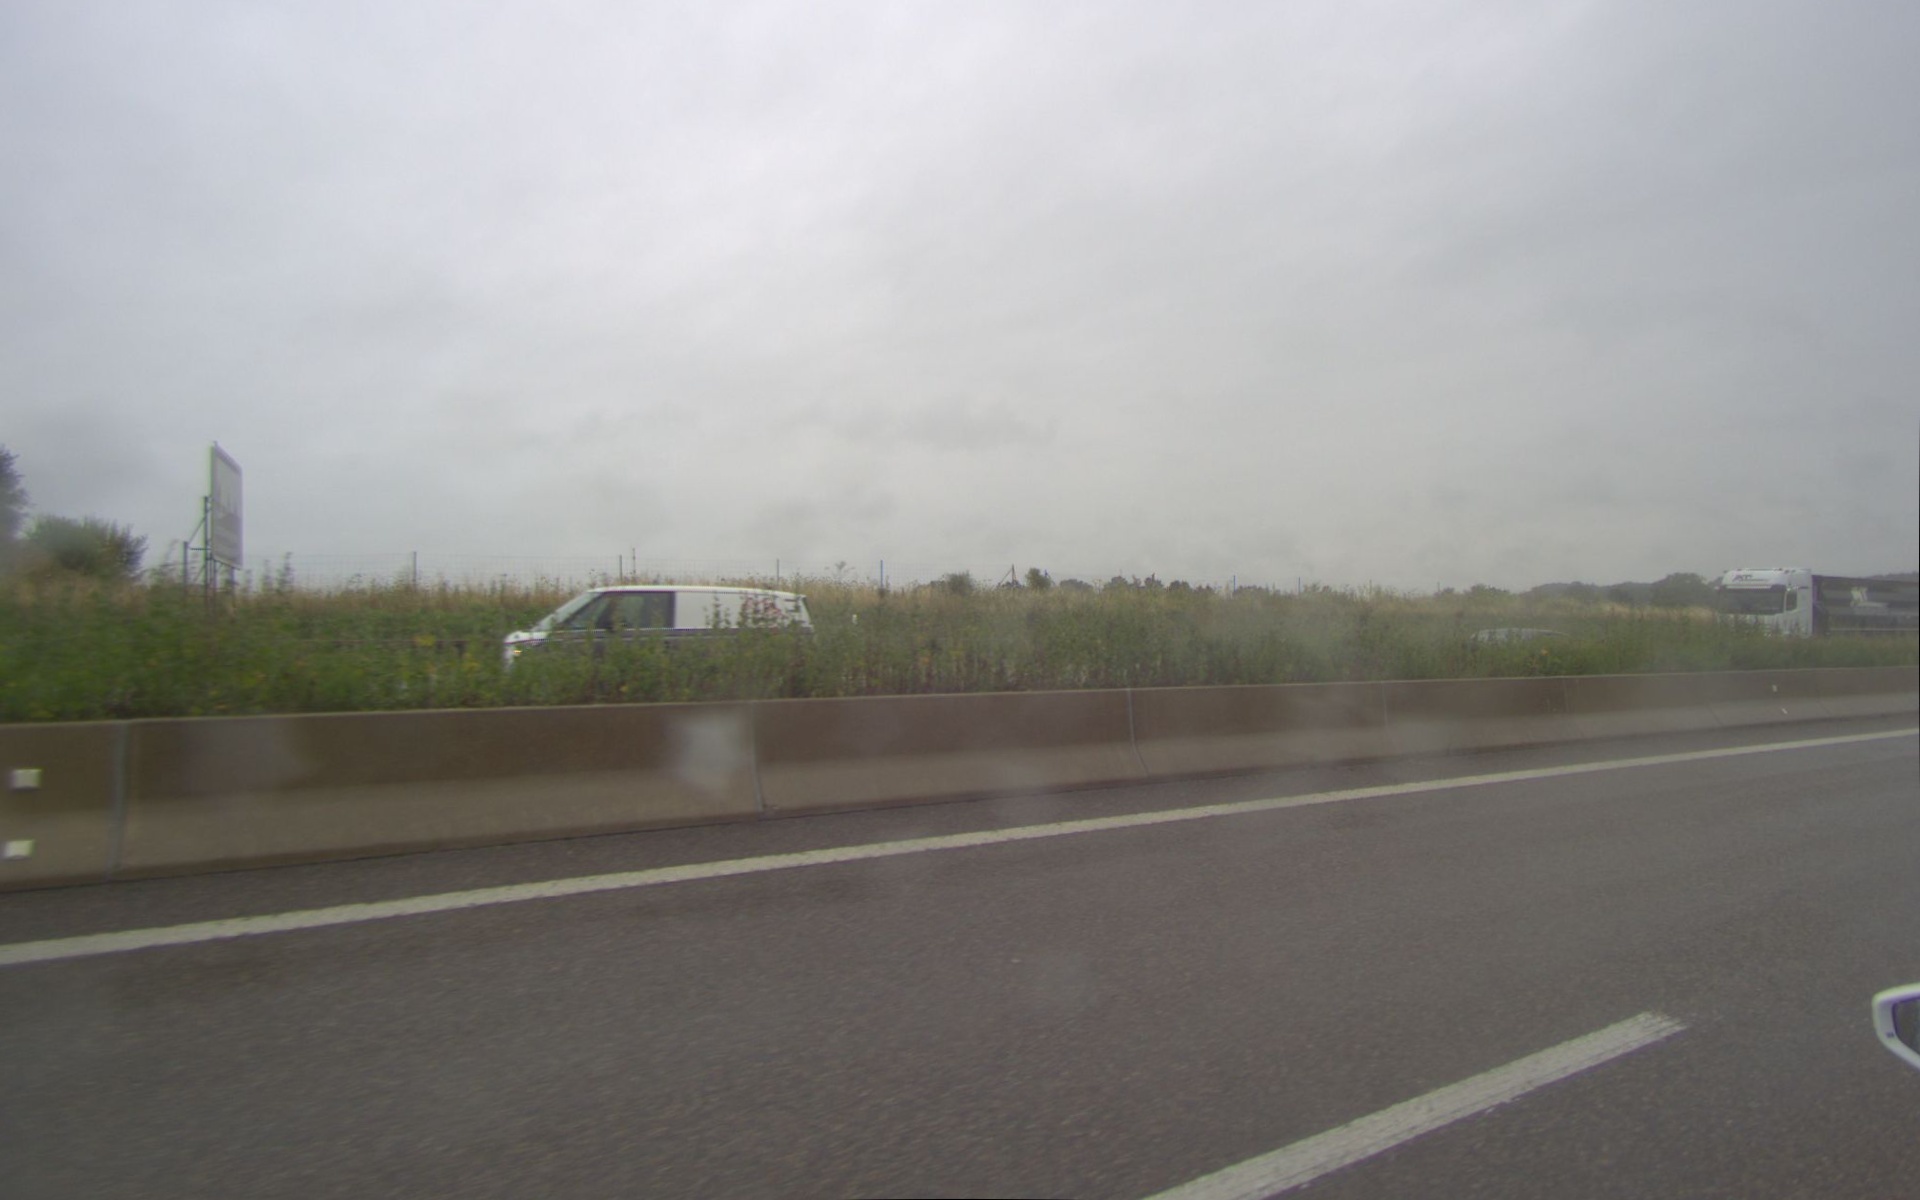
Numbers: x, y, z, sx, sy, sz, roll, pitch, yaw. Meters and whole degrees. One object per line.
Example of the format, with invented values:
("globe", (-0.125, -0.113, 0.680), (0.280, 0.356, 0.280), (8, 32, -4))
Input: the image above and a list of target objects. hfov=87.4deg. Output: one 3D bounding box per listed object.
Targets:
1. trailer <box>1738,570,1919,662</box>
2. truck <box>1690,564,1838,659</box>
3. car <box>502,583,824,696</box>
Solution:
("trailer", (39.274, 0.803, 45.034), (11.013, 3.668, 2.752), (3, -1, -29))
("truck", (33.465, 0.521, 41.808), (5.669, 3.655, 2.768), (3, -1, -28))
("car", (-4.260, 0.549, 14.669), (4.296, 1.460, 1.454), (1, -1, -30))
